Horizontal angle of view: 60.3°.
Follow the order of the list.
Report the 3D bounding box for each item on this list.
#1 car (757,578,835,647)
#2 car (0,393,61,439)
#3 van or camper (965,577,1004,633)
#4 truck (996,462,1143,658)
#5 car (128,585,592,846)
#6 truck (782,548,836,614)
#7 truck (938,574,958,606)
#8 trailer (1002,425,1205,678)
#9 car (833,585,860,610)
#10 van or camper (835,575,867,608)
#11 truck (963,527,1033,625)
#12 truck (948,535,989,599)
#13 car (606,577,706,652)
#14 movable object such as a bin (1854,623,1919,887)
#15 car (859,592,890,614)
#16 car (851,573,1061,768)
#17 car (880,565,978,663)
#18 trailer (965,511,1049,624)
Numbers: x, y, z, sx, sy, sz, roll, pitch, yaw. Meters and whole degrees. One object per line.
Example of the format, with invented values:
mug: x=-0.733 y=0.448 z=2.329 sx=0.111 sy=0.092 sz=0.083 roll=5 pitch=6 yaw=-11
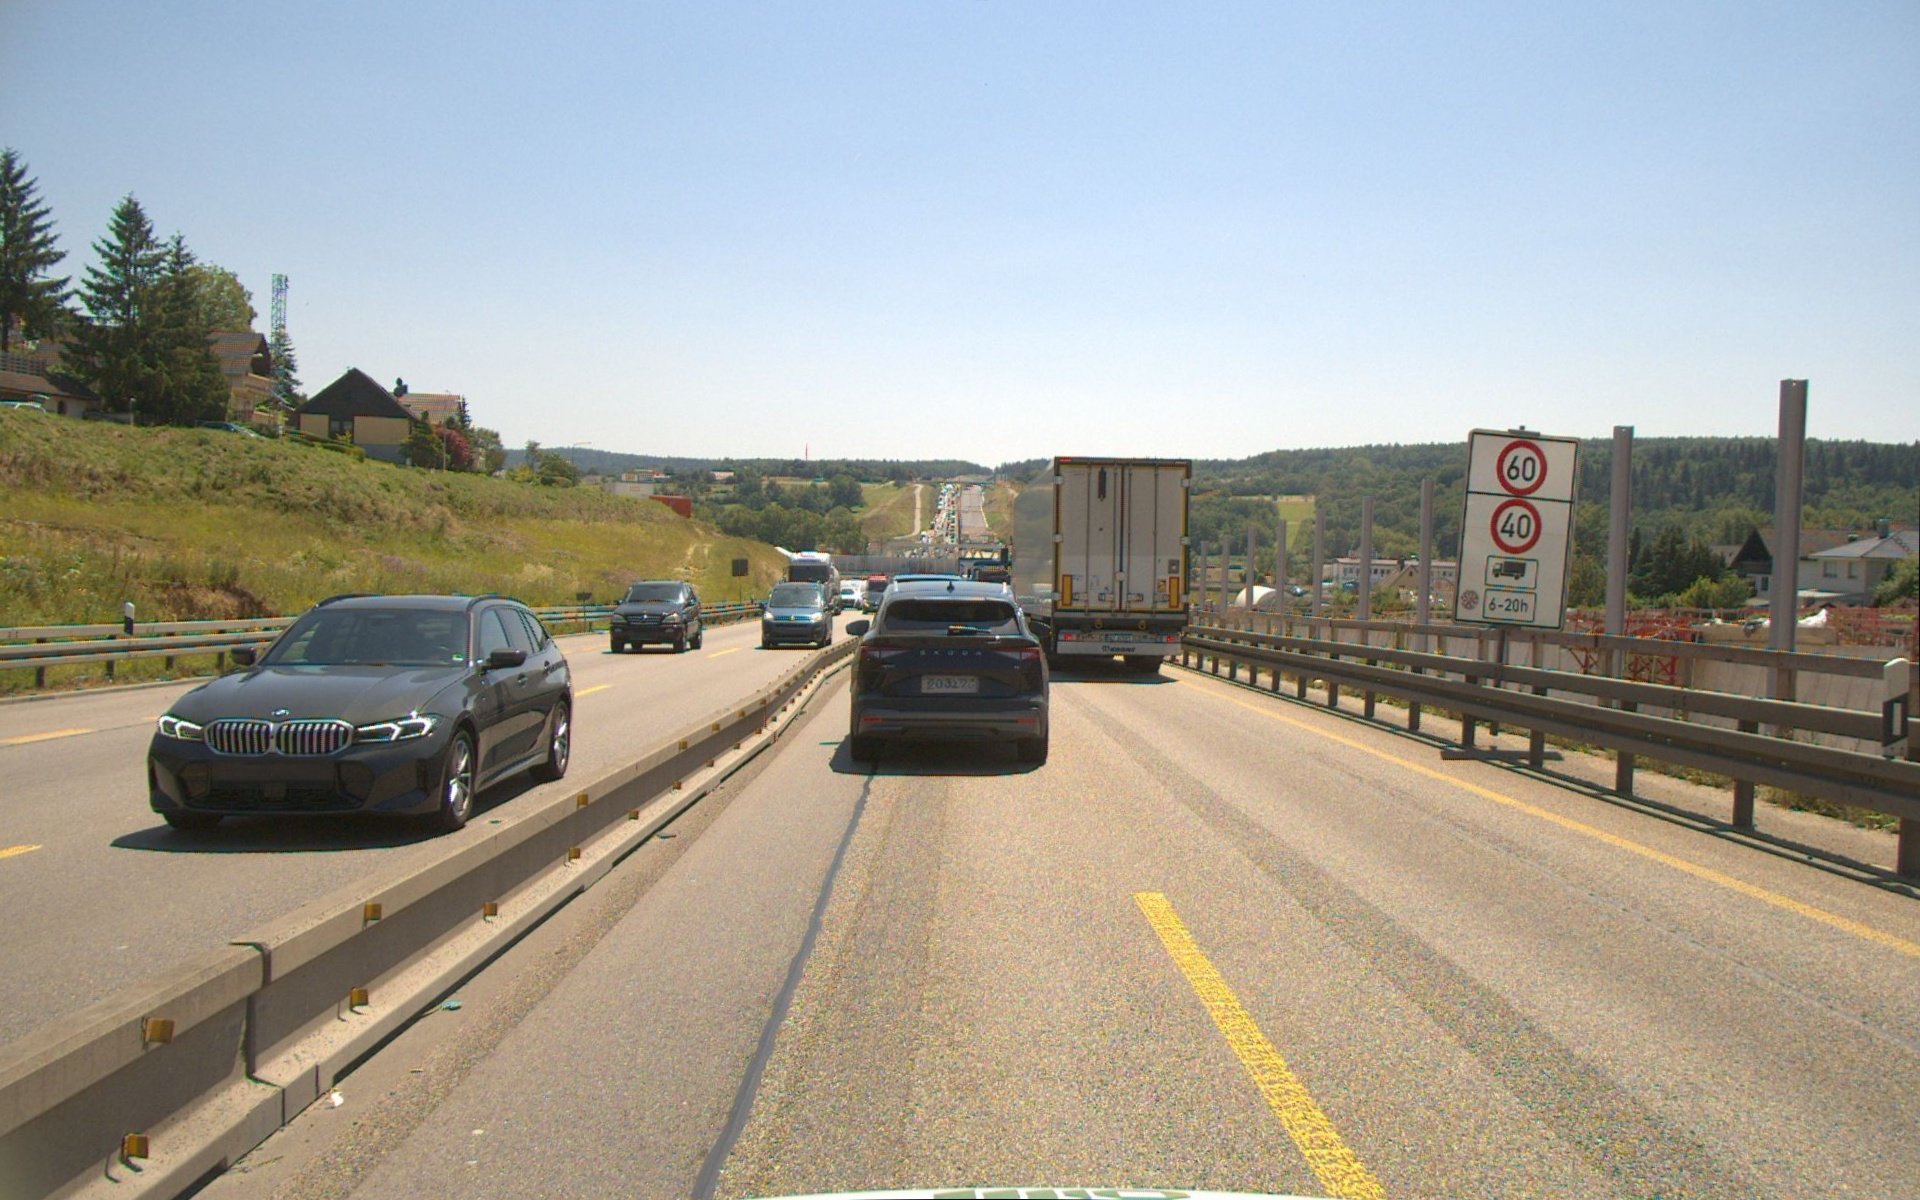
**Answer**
car: x=-4.498 y=0.314 z=45.970 sx=1.808 sy=1.809 sz=4.881 roll=0 pitch=0 yaw=-1
car: x=-53.289 y=-10.433 z=94.027 sx=1.951 sy=2.049 sz=4.002 roll=1 pitch=-1 yaw=4
van or camper: x=1.538 y=0.340 z=102.430 sx=2.339 sy=3.338 sz=6.469 roll=0 pitch=-1 yaw=1
truck: x=2.676 y=-0.981 z=43.292 sx=3.116 sy=4.592 sz=8.164 roll=1 pitch=0 yaw=-1
car: x=-3.948 y=0.664 z=11.732 sx=1.761 sy=1.492 sz=4.354 roll=0 pitch=0 yaw=-1
truck: x=-8.855 y=-1.096 z=97.517 sx=2.723 sy=3.737 sz=6.275 roll=1 pitch=0 yaw=-2
truck: x=-1.722 y=-1.319 z=231.596 sx=2.586 sy=4.267 sz=9.281 roll=1 pitch=-1 yaw=-1
trailer: x=2.794 y=-0.946 z=36.783 sx=3.116 sy=4.592 sz=13.106 roll=1 pitch=0 yaw=-1
car: x=-9.369 y=-0.200 z=136.714 sx=1.953 sy=2.005 sz=5.342 roll=0 pitch=0 yaw=-1
van or camper: x=-9.419 y=-0.755 z=143.316 sx=2.309 sy=2.723 sz=7.856 roll=0 pitch=0 yaw=-1
truck: x=1.832 y=-1.075 z=82.647 sx=3.116 sy=4.592 sz=8.163 roll=1 pitch=-1 yaw=-1
truck: x=0.581 y=-2.439 z=128.135 sx=2.794 sy=4.543 sz=11.912 roll=1 pitch=-1 yaw=-1
car: x=-7.617 y=0.340 z=41.827 sx=1.791 sy=1.797 sz=4.496 roll=0 pitch=0 yaw=-1
movable object such as a bin: x=19.202 y=2.804 z=27.655 sx=3.162 sy=4.826 sz=9.652 roll=1 pitch=-1 yaw=-1
car: x=-5.675 y=0.201 z=109.887 sx=1.856 sy=1.439 sz=4.678 roll=0 pitch=0 yaw=0
car: x=-0.044 y=0.613 z=16.013 sx=1.765 sy=1.635 sz=3.999 roll=1 pitch=0 yaw=0
car: x=-0.678 y=0.327 z=35.913 sx=1.953 sy=1.959 sz=4.506 roll=1 pitch=-1 yaw=-1
trailer: x=1.963 y=-1.213 z=75.580 sx=3.116 sy=4.592 sz=14.962 roll=1 pitch=-1 yaw=-1
